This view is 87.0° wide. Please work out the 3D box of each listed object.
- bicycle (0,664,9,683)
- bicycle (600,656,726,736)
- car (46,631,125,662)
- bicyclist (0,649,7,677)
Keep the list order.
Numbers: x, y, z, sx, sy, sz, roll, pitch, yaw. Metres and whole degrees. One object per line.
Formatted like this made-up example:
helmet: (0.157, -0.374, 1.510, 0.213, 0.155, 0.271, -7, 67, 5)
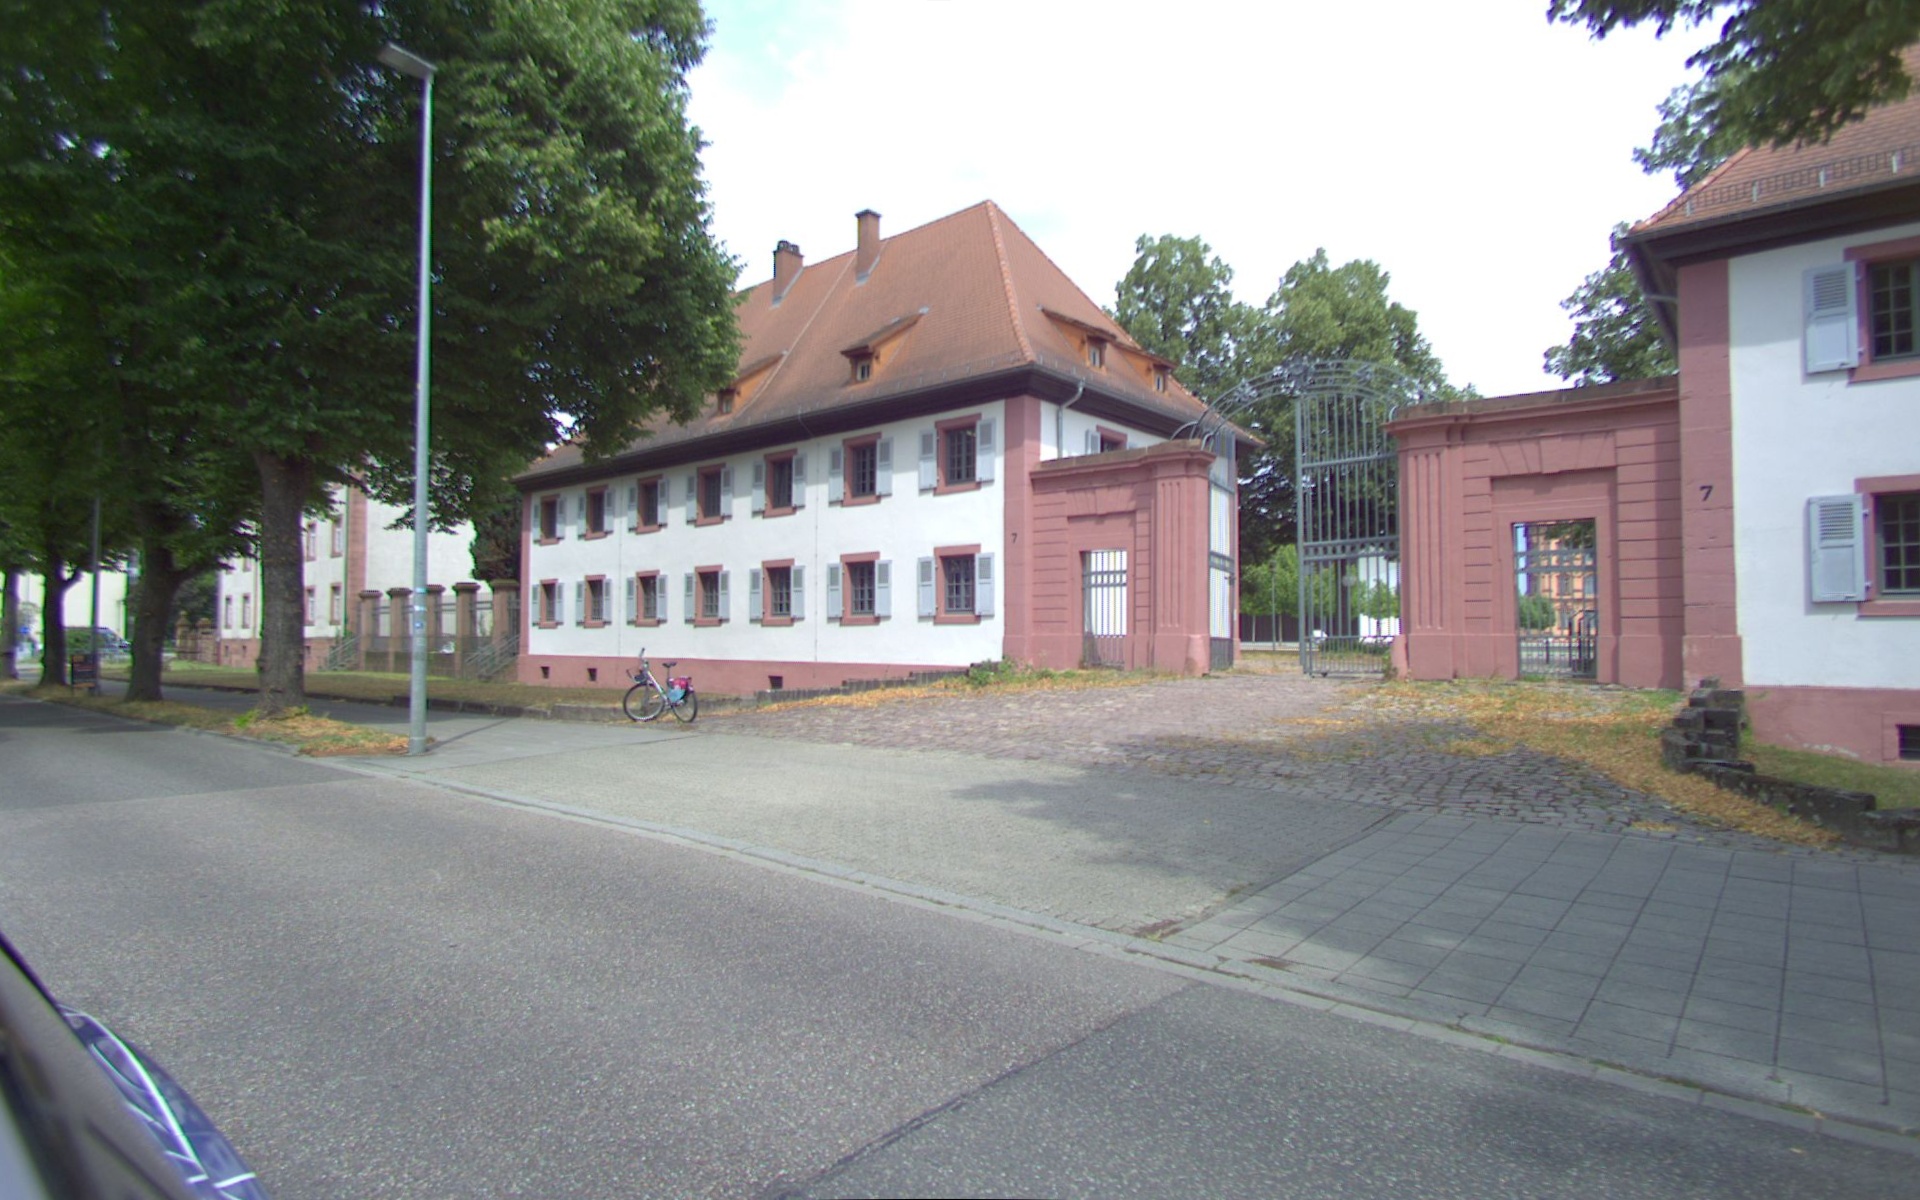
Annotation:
bicycle: (-60.008, 4.603, 63.122, 2.150, 1.103, 0.715, -3, 0, 41)
bicycle: (-4.595, 1.435, 15.554, 2.224, 1.103, 0.715, -3, 0, 41)
car: (-80.142, 4.226, 92.832, 2.354, 2.571, 5.254, -2, -1, 42)
bicyclist: (-60.006, 3.939, 63.105, 0.958, 1.668, 0.715, -3, 0, 40)
